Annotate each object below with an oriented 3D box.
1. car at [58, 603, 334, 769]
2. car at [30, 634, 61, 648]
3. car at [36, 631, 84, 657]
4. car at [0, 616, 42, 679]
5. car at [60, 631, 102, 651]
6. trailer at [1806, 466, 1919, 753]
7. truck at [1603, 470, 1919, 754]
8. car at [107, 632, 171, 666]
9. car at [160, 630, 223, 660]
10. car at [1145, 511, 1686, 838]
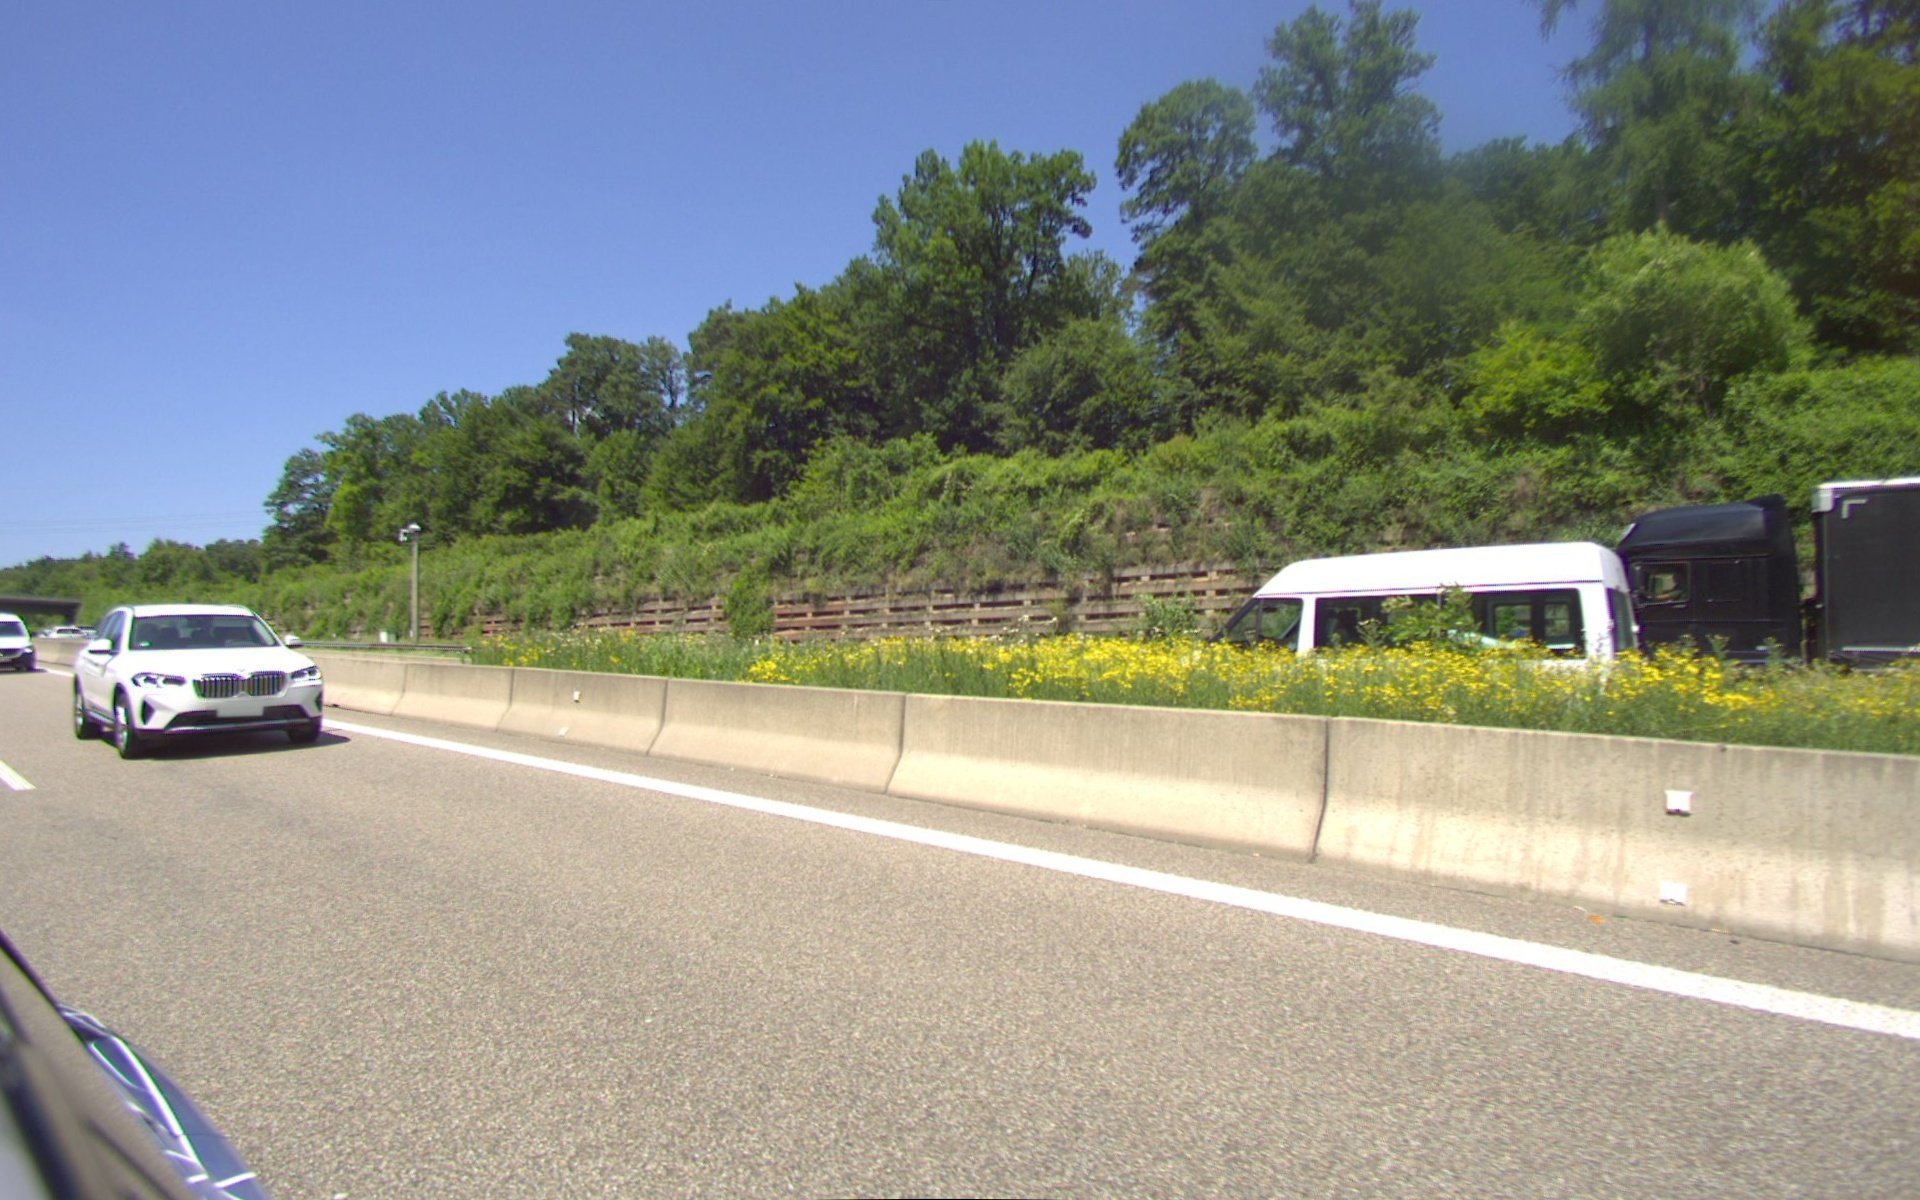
[{"bbox_3d":[-9.398,0.917,12.316,4.366,1.656,1.826,-2,-1,41],"label":"car"},{"bbox_3d":[-103.037,4.603,114.020,4.857,1.617,1.919,-2,-3,41],"label":"car"},{"bbox_3d":[-56.540,2.744,63.541,4.056,1.617,1.728,-2,-3,41],"label":"car"},{"bbox_3d":[-29.486,1.426,30.711,4.501,1.788,1.972,-1,0,43],"label":"car"},{"bbox_3d":[-73.973,3.457,85.171,5.646,1.650,1.863,-2,-3,41],"label":"car"},{"bbox_3d":[19.119,0.098,11.880,13.987,4.132,2.947,-1,-4,41],"label":"trailer"},{"bbox_3d":[14.079,0.253,16.326,5.865,4.090,2.903,-1,-4,41],"label":"truck"},{"bbox_3d":[-40.696,2.401,50.117,4.079,1.617,1.743,-2,-3,41],"label":"car"},{"bbox_3d":[-43.625,2.529,57.400,4.654,1.617,1.919,-2,-3,41],"label":"car"},{"bbox_3d":[4.572,0.697,10.691,4.843,2.694,1.977,-2,-3,41],"label":"car"}]
